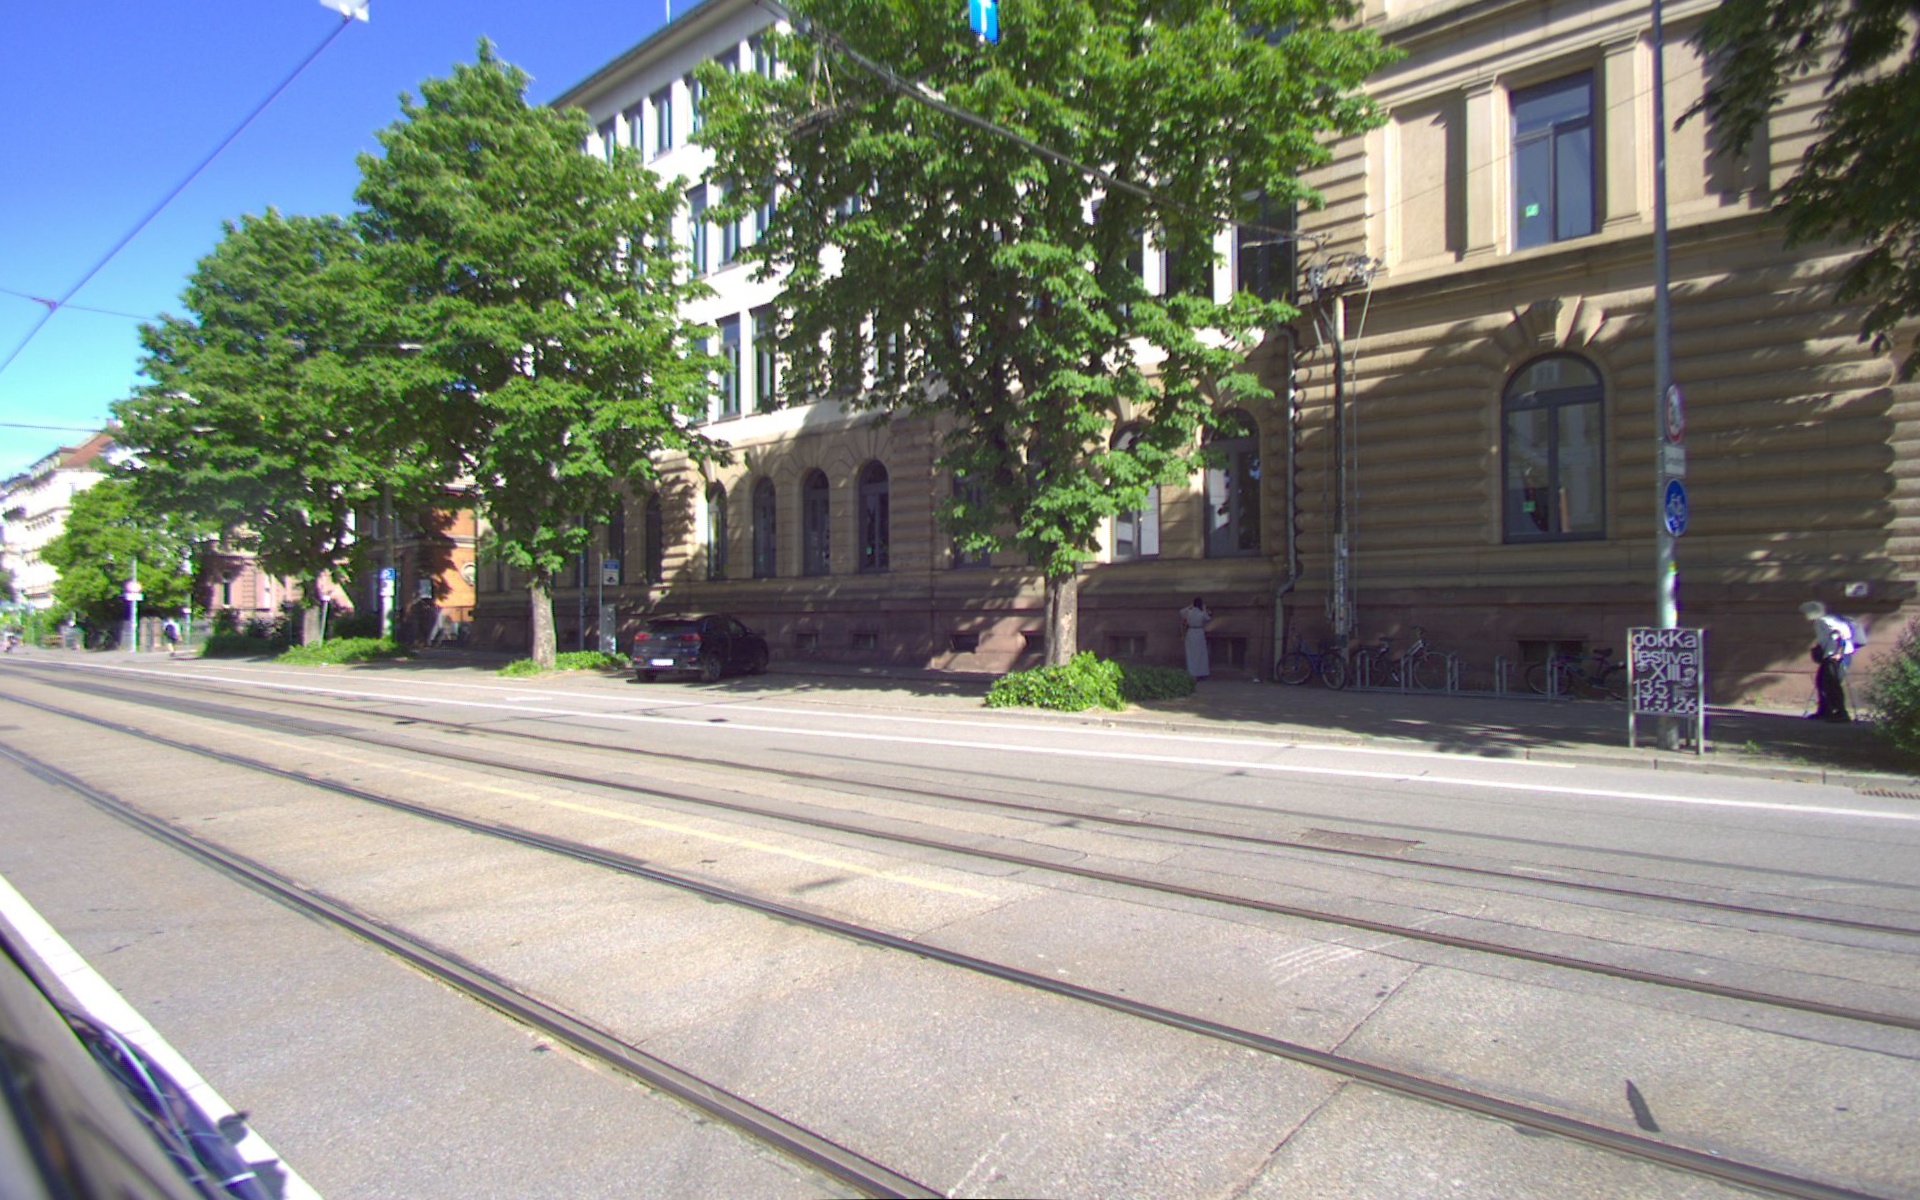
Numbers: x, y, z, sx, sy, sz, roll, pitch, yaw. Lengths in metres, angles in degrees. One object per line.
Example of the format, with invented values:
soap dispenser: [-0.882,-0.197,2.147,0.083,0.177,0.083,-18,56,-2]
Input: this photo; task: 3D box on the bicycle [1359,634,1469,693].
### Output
bicycle: [7.613,1.054,17.019,1.619,0.924,0.476,-1,-1,41]

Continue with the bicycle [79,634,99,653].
bicycle: [-49.599,2.474,57.635,0.628,1.053,2.027,0,-1,-34]

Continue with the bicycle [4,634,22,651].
bicycle: [-67.450,3.024,72.080,1.839,1.097,0.655,0,2,40]

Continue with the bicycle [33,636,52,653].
bicycle: [-58.338,2.824,64.331,1.742,1.067,0.632,-2,1,41]

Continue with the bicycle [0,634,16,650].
bicycle: [-69.040,3.043,73.389,1.839,1.097,0.655,0,2,40]

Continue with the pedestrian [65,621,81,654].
pedestrian: [-50.165,2.140,57.216,0.567,1.845,0.691,0,-1,-32]

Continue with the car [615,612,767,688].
car: [-6.157,1.101,23.679,1.858,1.562,3.985,-1,0,12]

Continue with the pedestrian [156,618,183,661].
pedestrian: [-34.501,1.705,44.184,0.719,1.810,0.783,-2,1,-25]

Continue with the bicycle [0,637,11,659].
bicycle: [-51.749,2.572,54.589,1.932,1.133,0.679,-2,-4,44]

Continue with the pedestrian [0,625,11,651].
pedestrian: [-64.332,2.558,67.952,0.807,1.727,0.747,-2,0,40]

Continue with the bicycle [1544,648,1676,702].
bicycle: [9.776,1.116,15.265,1.619,0.730,0.476,-1,-1,41]

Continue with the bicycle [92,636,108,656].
bicycle: [-46.864,2.485,55.157,0.582,1.053,1.907,-1,-1,-42]

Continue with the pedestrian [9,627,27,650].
pedestrian: [-63.823,2.613,68.571,0.956,1.489,0.747,-2,0,40]

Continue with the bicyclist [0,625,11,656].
bicyclist: [-51.758,2.191,54.621,1.238,1.657,0.679,-2,-4,44]

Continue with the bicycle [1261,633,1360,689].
bicycle: [6.259,1.073,18.121,1.619,0.924,0.476,-1,-1,41]

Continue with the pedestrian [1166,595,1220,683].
pedestrian: [4.524,0.750,19.633,0.758,1.647,0.694,-2,1,39]

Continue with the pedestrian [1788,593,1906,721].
pedestrian: [10.947,0.692,12.526,0.698,1.516,0.920,-1,-1,13]

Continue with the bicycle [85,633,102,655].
bicycle: [-48.563,2.460,56.682,0.638,1.152,1.907,-2,0,-42]

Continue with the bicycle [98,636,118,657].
bicycle: [-45.150,2.440,53.615,1.905,1.053,0.583,-1,0,43]
